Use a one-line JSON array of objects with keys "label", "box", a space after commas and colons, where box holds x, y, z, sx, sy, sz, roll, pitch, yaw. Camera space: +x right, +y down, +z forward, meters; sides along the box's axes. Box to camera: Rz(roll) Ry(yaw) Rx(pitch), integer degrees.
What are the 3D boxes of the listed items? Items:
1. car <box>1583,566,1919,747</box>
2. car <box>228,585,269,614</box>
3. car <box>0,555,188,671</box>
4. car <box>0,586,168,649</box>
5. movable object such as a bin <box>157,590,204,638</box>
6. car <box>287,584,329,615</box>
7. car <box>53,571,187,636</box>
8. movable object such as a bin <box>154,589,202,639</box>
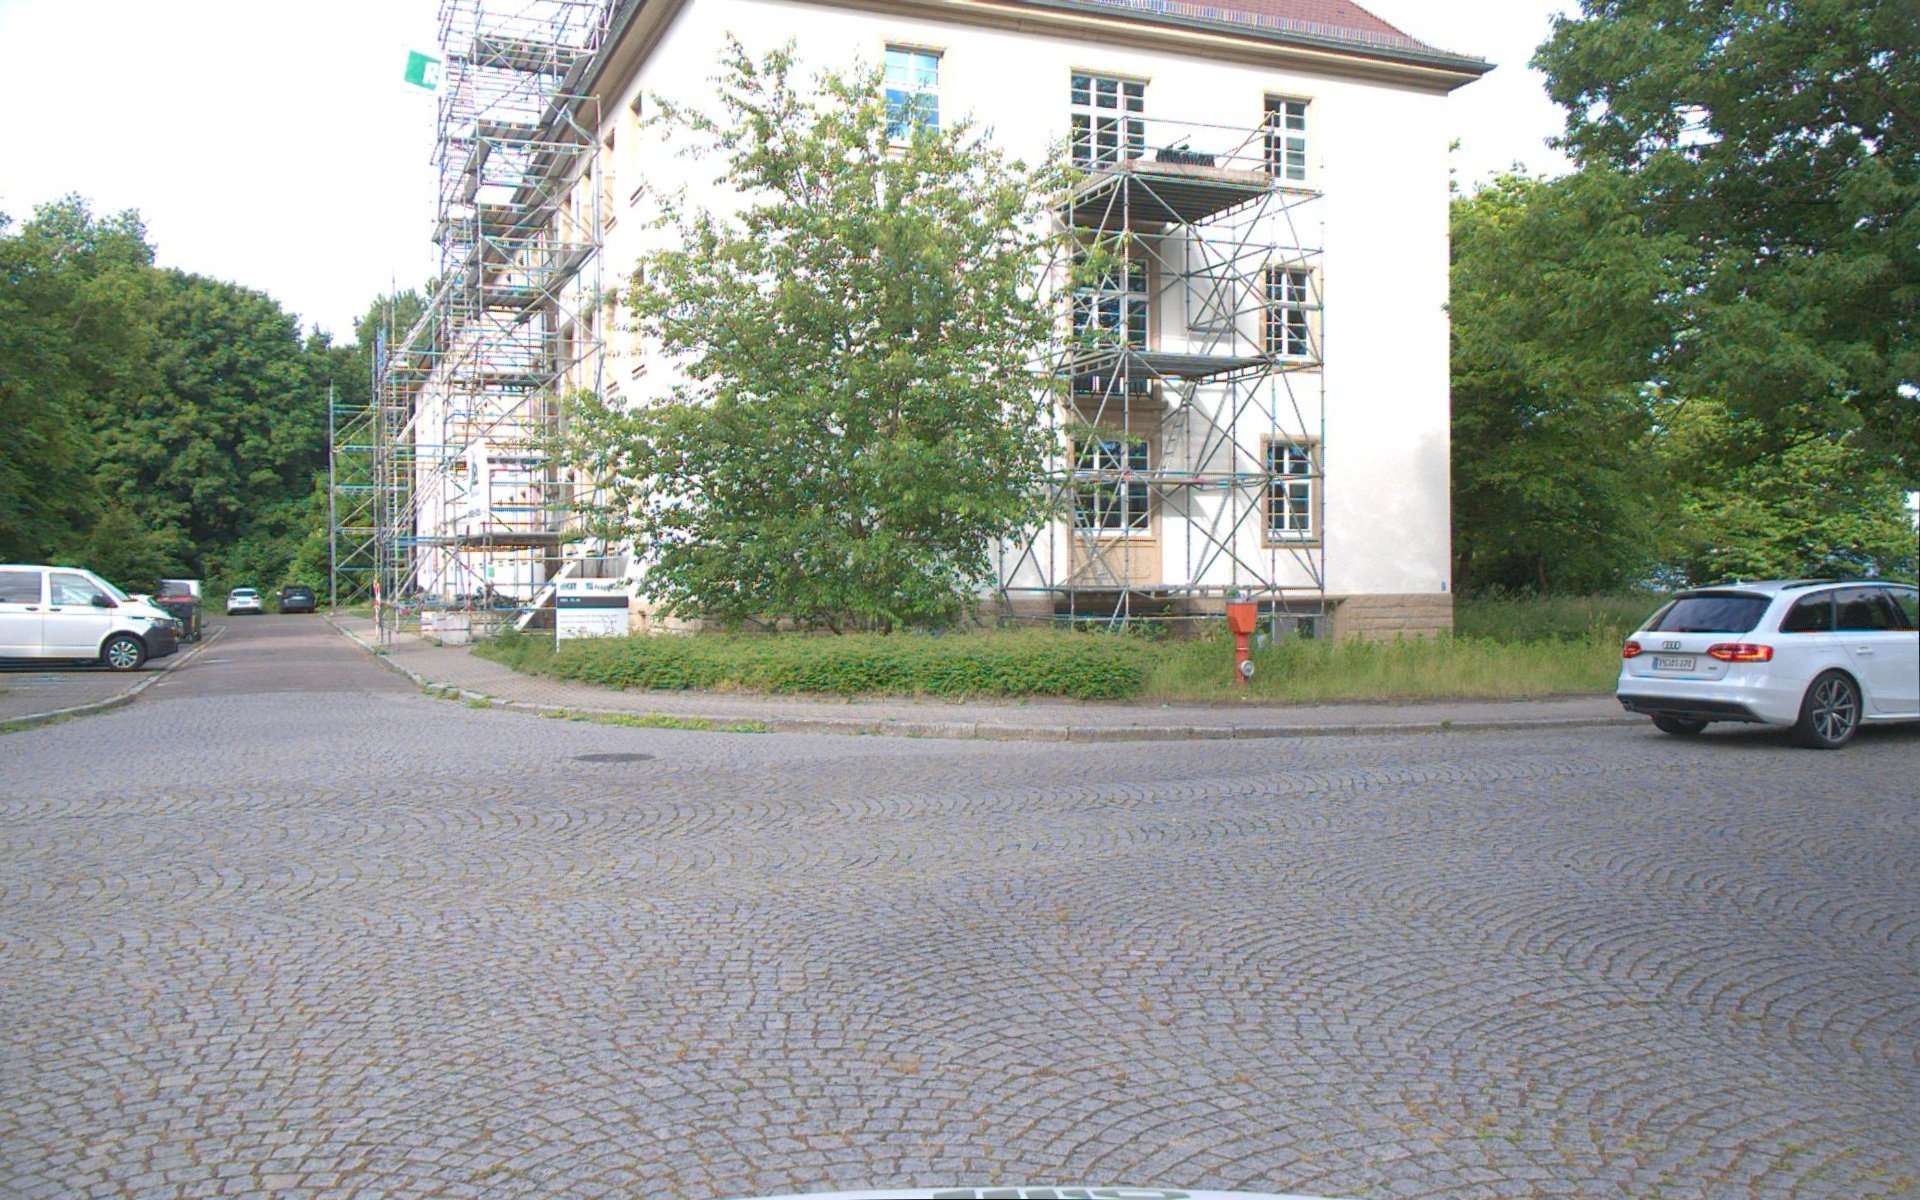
[{"label": "car", "box": [8.209, 0.441, 15.301, 4.628, 1.462, 1.841, -1, 0, -24]}, {"label": "car", "box": [-40.018, -0.011, 92.946, 1.976, 1.575, 3.926, 2, -1, -25]}, {"label": "car", "box": [-17.507, 0.246, 31.319, 5.131, 2.096, 2.172, 0, -1, -24]}, {"label": "car", "box": [-22.720, 0.459, 42.893, 3.567, 1.507, 1.814, 2, -1, -15]}, {"label": "movable object such as a bin", "box": [-23.556, 0.427, 49.999, 1.167, 1.432, 0.969, 2, -2, -22]}, {"label": "car", "box": [-37.215, -0.007, 94.444, 2.033, 1.621, 3.977, 2, -1, -20]}, {"label": "car", "box": [-28.505, 0.131, 56.228, 3.939, 2.049, 1.905, 2, -2, -27]}, {"label": "movable object such as a bin", "box": [-23.092, 0.420, 48.832, 1.167, 1.432, 0.969, 2, -2, -22]}]
